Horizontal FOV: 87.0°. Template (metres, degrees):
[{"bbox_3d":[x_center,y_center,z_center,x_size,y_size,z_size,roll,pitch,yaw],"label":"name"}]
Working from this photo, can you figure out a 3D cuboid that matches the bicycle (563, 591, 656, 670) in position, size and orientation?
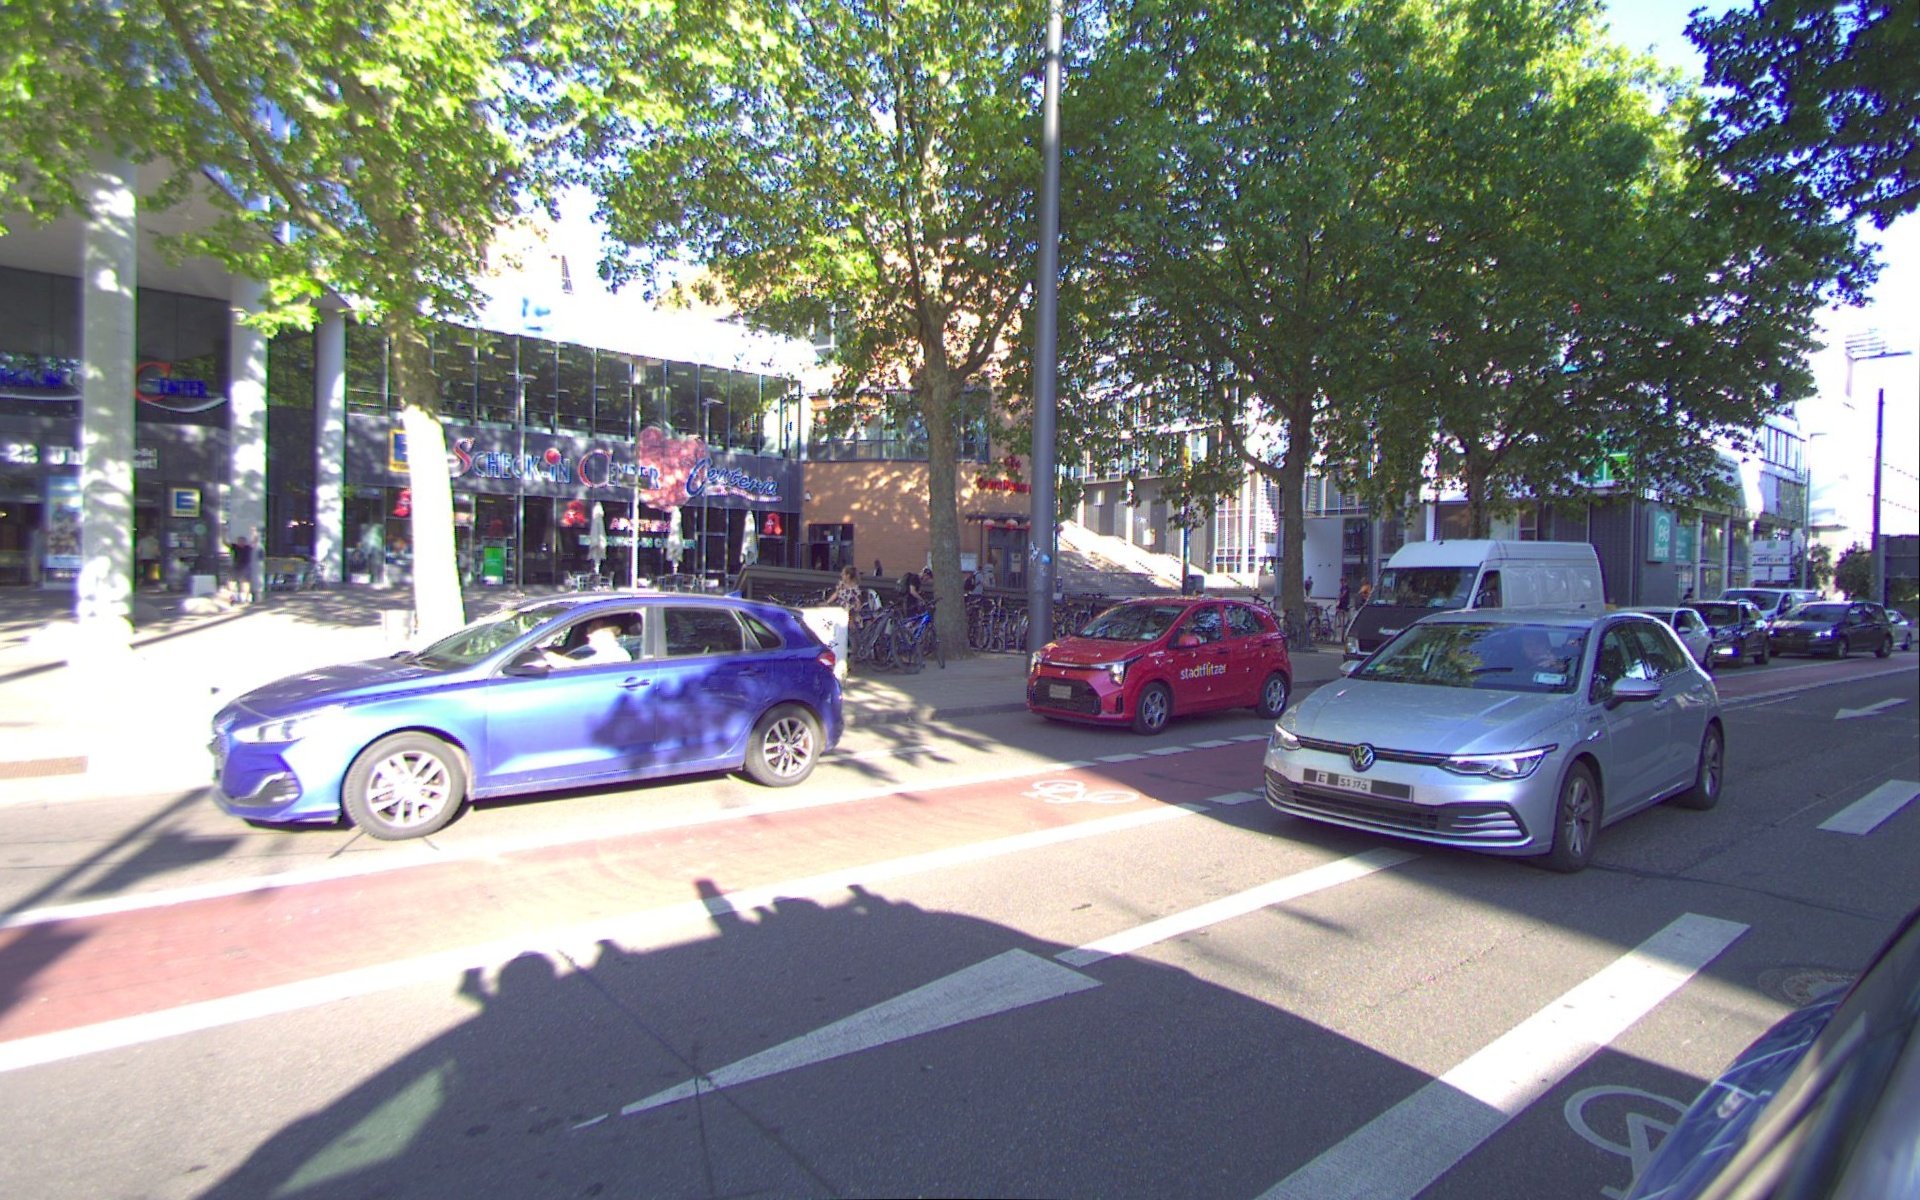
[{"bbox_3d":[-5.114,0.425,14.797,1.202,1.110,0.396,0,1,-40],"label":"bicycle"}]

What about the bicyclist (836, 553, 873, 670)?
[{"bbox_3d":[-1.624,0.165,15.618,0.392,1.782,0.390,0,1,-41],"label":"bicyclist"}]

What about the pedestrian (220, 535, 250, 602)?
[{"bbox_3d":[-18.742,-0.809,26.166,0.506,1.707,0.604,1,1,-23],"label":"pedestrian"}]

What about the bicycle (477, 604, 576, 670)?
[{"bbox_3d":[-6.263,0.516,14.637,1.231,0.898,0.462,0,1,-40],"label":"bicycle"}]

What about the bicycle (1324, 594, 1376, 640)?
[{"bbox_3d":[10.668,0.449,27.638,1.818,1.209,0.495,0,2,-41],"label":"bicycle"}]

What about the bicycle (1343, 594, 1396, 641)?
[{"bbox_3d":[11.036,0.464,27.239,1.818,1.209,0.521,0,2,-41],"label":"bicycle"}]

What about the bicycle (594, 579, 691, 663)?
[{"bbox_3d":[-4.374,0.279,13.963,1.202,1.110,0.413,0,1,-40],"label":"bicycle"}]

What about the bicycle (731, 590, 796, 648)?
[{"bbox_3d":[-3.884,0.371,20.055,1.202,1.110,0.429,0,1,-40],"label":"bicycle"}]

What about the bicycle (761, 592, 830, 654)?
[{"bbox_3d":[-3.049,0.414,18.803,1.202,1.110,0.427,0,1,-40],"label":"bicycle"}]

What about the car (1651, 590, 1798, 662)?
[{"bbox_3d":[19.026,0.591,25.146,4.148,1.640,1.819,0,1,-36],"label":"car"}]

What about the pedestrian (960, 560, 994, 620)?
[{"bbox_3d":[0.513,-0.314,30.832,0.868,1.805,0.604,1,1,-18],"label":"pedestrian"}]

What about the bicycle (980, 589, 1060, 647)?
[{"bbox_3d":[1.259,0.350,20.975,1.818,1.139,0.484,0,2,-41],"label":"bicycle"}]

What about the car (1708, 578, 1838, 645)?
[{"bbox_3d":[26.391,0.343,32.809,4.863,2.020,1.968,0,1,-35],"label":"car"}]

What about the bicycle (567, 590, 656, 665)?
[{"bbox_3d":[-5.356,0.405,15.594,0.372,1.110,1.269,2,1,41],"label":"bicycle"}]

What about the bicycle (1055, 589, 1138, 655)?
[{"bbox_3d":[2.624,0.398,19.371,1.818,1.209,0.481,0,2,-41],"label":"bicycle"}]

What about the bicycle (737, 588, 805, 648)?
[{"bbox_3d":[-3.640,0.342,19.511,1.202,1.110,0.444,0,1,-40],"label":"bicycle"}]

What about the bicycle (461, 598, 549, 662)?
[{"bbox_3d":[-6.943,0.455,15.475,1.198,0.930,0.442,1,1,-22],"label":"bicycle"}]

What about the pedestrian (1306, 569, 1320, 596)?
[{"bbox_3d":[21.280,-1.054,61.084,0.707,1.578,0.638,1,1,14],"label":"pedestrian"}]

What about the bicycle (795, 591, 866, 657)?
[{"bbox_3d":[-2.244,0.406,17.649,1.202,1.110,0.381,0,1,-40],"label":"bicycle"}]

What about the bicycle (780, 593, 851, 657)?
[{"bbox_3d":[-2.578,0.436,18.115,1.202,1.110,0.400,0,1,-40],"label":"bicycle"}]

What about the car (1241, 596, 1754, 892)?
[{"bbox_3d":[3.819,0.705,6.916,3.928,1.458,1.733,0,0,-39],"label":"car"}]

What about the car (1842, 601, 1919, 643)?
[{"bbox_3d":[33.523,0.748,36.526,3.927,1.394,1.802,0,2,-38],"label":"car"}]

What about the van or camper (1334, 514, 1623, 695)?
[{"bbox_3d":[9.096,0.056,17.400,6.456,2.611,1.998,0,0,-39],"label":"van or camper"}]

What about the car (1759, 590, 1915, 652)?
[{"bbox_3d":[25.242,0.580,29.108,4.242,1.640,1.970,0,1,-28],"label":"car"}]

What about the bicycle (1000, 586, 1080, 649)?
[{"bbox_3d":[1.632,0.338,20.526,1.818,1.209,0.447,0,1,-41],"label":"bicycle"}]

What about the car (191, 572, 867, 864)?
[{"bbox_3d":[-2.884,0.597,7.323,4.177,1.503,1.742,0,2,-41],"label":"car"}]

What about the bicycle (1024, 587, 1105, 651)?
[{"bbox_3d":[2.113,0.361,20.265,1.818,1.209,0.484,0,2,-41],"label":"bicycle"}]

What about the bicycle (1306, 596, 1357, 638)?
[{"bbox_3d":[10.312,0.460,28.050,1.766,1.108,0.522,0,2,-41],"label":"bicycle"}]

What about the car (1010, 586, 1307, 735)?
[{"bbox_3d":[2.441,0.601,12.027,3.588,1.476,1.605,0,1,-41],"label":"car"}]

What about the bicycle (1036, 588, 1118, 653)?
[{"bbox_3d":[2.302,0.387,19.757,1.818,1.209,0.448,0,1,-41],"label":"bicycle"}]

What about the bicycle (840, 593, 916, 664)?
[{"bbox_3d":[-1.345,0.451,16.703,1.202,1.110,0.447,0,1,-40],"label":"bicycle"}]

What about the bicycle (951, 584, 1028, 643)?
[{"bbox_3d":[0.640,0.270,21.708,1.818,1.209,0.434,0,1,-41],"label":"bicycle"}]

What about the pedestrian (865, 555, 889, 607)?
[{"bbox_3d":[-3.334,-0.764,40.656,0.575,2.062,0.876,1,1,-35],"label":"pedestrian"}]

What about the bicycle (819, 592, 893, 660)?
[{"bbox_3d":[-1.747,0.428,17.132,1.202,1.110,0.420,0,1,-40],"label":"bicycle"}]

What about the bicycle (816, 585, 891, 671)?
[{"bbox_3d":[-1.636,0.420,15.621,1.126,1.271,0.379,0,1,-41],"label":"bicycle"}]

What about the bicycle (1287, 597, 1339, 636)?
[{"bbox_3d":[9.929,0.461,28.460,1.818,1.046,0.515,0,2,-41],"label":"bicycle"}]

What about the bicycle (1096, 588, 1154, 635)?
[{"bbox_3d":[4.414,0.305,27.029,1.759,1.209,0.517,0,2,-41],"label":"bicycle"}]

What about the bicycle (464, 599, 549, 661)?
[{"bbox_3d":[-7.118,0.462,15.927,1.198,0.938,0.465,1,1,-22],"label":"bicycle"}]

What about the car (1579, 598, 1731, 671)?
[{"bbox_3d":[15.348,0.688,22.298,3.927,1.446,1.683,0,1,-38],"label":"car"}]

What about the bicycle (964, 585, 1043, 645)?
[{"bbox_3d":[0.938,0.295,21.354,1.818,1.209,0.458,0,1,-41],"label":"bicycle"}]

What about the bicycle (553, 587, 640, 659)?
[{"bbox_3d":[-5.830,0.350,16.274,0.414,1.110,1.269,2,1,41],"label":"bicycle"}]

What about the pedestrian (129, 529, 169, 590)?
[{"bbox_3d":[-23.467,-1.175,29.298,0.703,1.728,0.808,1,1,-22],"label":"pedestrian"}]
